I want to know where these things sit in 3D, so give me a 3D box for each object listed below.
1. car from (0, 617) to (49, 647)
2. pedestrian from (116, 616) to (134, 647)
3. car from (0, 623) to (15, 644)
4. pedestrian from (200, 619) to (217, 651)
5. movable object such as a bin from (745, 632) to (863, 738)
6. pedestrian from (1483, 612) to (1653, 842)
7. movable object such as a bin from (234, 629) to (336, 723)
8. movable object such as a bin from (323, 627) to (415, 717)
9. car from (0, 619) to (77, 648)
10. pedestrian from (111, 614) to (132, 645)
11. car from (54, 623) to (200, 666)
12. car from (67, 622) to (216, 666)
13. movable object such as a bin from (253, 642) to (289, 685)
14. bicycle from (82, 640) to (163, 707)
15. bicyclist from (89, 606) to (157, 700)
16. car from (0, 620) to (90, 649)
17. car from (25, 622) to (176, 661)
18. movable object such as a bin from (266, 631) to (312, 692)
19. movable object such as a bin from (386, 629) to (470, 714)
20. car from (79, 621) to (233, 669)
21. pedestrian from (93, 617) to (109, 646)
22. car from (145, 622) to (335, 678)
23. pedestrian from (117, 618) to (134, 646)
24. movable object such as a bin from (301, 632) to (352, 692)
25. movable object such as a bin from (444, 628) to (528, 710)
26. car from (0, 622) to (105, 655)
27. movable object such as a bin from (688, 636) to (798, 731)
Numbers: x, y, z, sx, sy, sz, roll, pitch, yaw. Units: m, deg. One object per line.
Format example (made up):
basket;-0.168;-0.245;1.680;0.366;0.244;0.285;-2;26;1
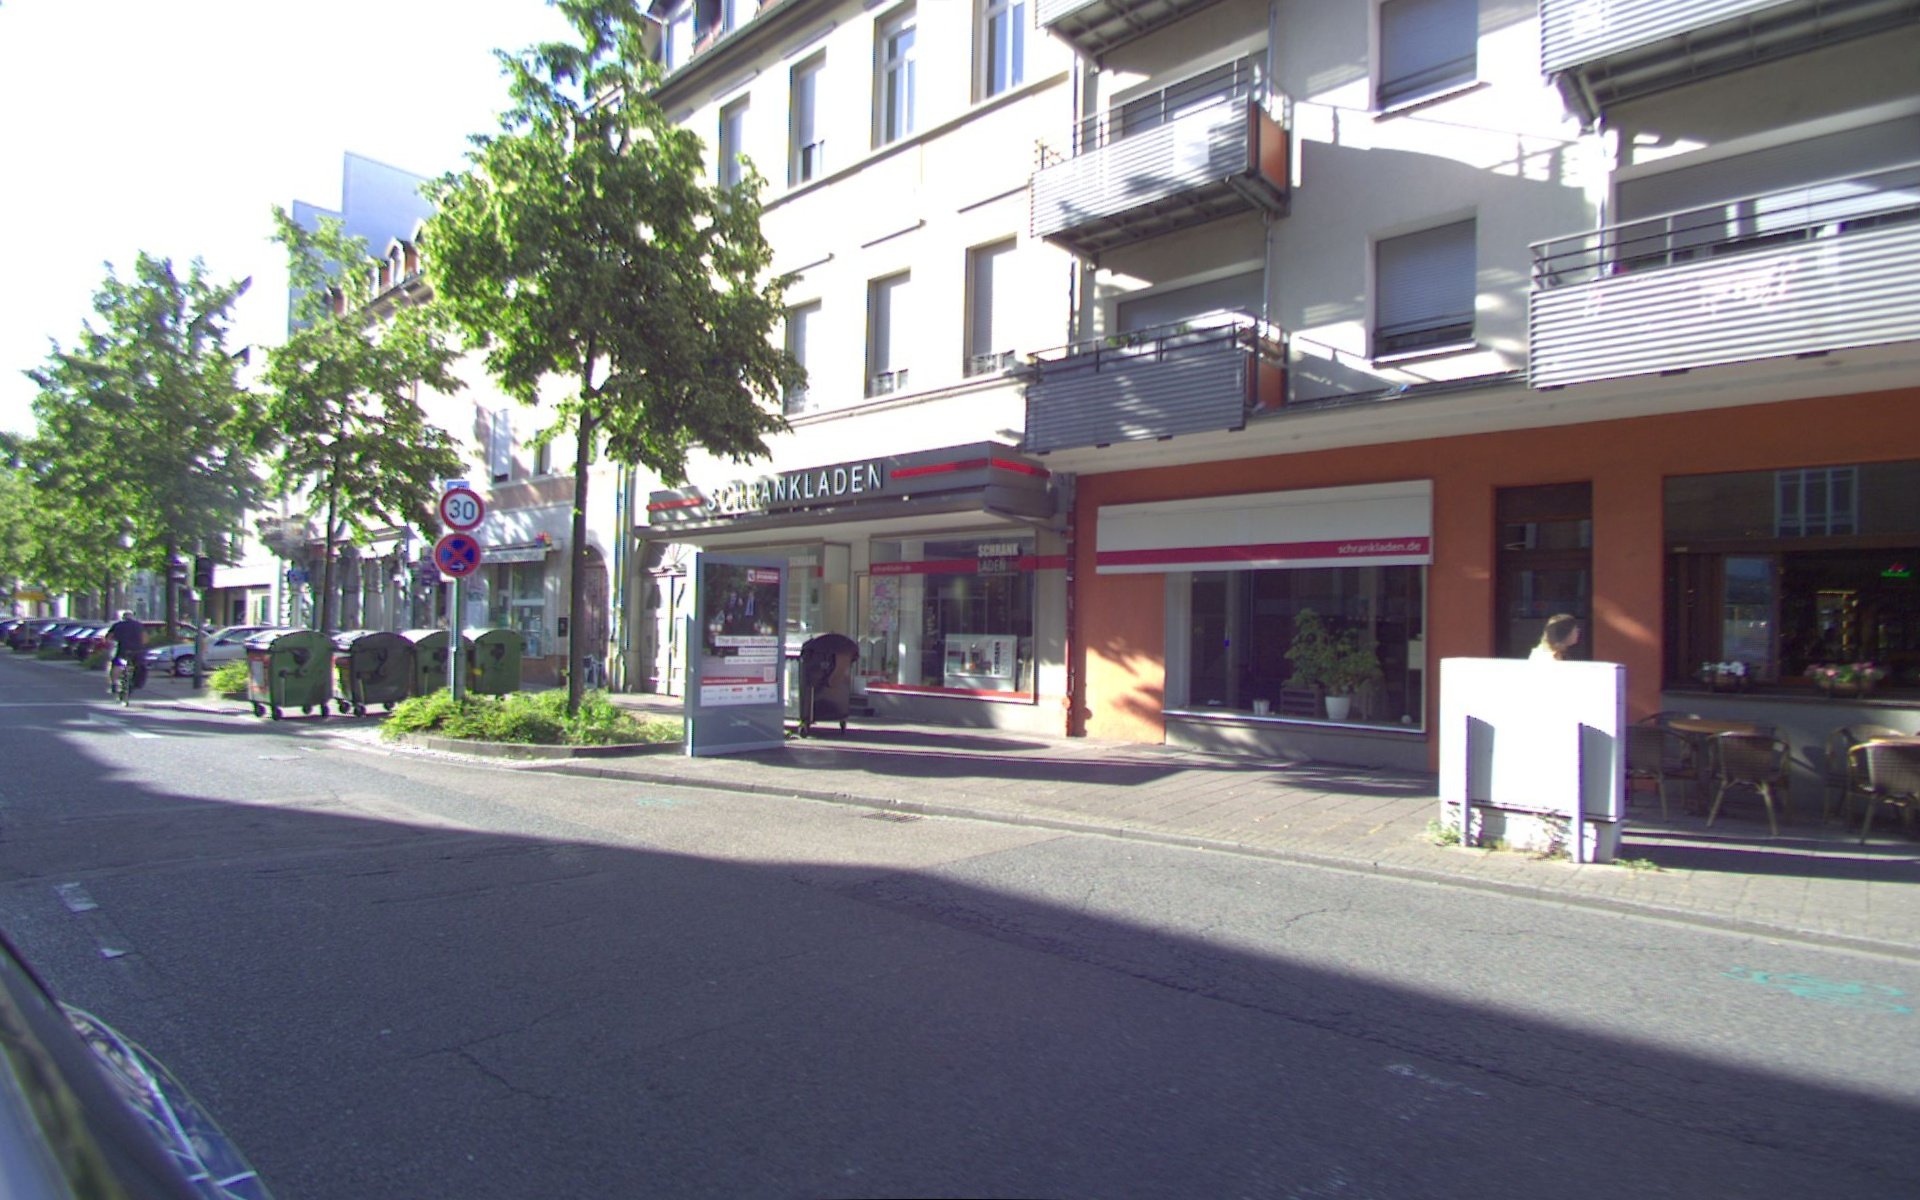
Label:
car;-60.155;1.989;63.639;2.038;1.850;4.061;-2;-2;42
pedestrian;-48.589;1.844;58.879;0.690;1.811;0.747;2;-3;-37
car;-69.899;2.392;71.972;1.708;1.475;3.741;-2;-2;39
pedestrian;-33.949;1.585;45.724;0.502;1.419;0.826;1;-3;-44
movable object such as a bin;-2.211;1.169;14.347;1.313;1.415;1.031;-1;-3;41
pedestrian;4.788;0.948;7.991;1.036;1.672;0.658;-2;-3;41
movable object such as a bin;-11.314;1.237;16.955;1.452;1.483;1.031;-1;-3;41
movable object such as a bin;-10.261;1.222;17.568;1.142;1.483;1.031;-1;-3;41
car;-53.352;1.920;57.713;1.946;1.582;4.319;-2;-3;42
pedestrian;-49.465;1.720;59.689;0.762;1.779;0.766;-1;1;40
car;-30.125;1.582;36.680;1.771;1.497;3.876;-2;-2;43
car;-28.372;1.487;35.152;1.790;1.440;3.799;-2;-2;43
movable object such as a bin;-17.480;1.600;25.675;0.805;1.077;0.525;-1;-3;41
bicycle;-15.385;1.321;18.585;1.965;1.155;0.699;-1;-3;38
bicyclist;-15.381;0.958;18.599;1.034;1.665;0.690;-1;-3;38
car;-51.325;1.918;56.189;1.980;1.582;4.319;-2;-3;42
car;-34.901;1.655;41.200;1.788;1.470;4.448;-1;-1;39
movable object such as a bin;-15.140;1.376;22.830;0.804;1.351;0.628;-1;-3;41
movable object such as a bin;-9.675;1.281;18.411;1.142;1.483;0.954;-1;-3;41
car;-26.405;1.458;33.308;1.739;1.479;3.708;-2;-2;41
pedestrian;-50.062;1.808;58.986;0.726;1.639;0.559;-1;1;40
car;-20.435;1.390;28.850;1.740;1.479;4.156;-2;-2;44
pedestrian;-45.575;1.742;55.263;0.842;1.505;0.586;-2;-1;43
movable object such as a bin;-14.649;1.421;23.390;0.804;1.351;0.747;-1;-3;41
movable object such as a bin;-9.010;1.291;19.232;1.142;1.483;1.031;-1;-3;41
car;-43.278;1.821;48.124;1.779;1.470;3.743;-1;-3;38
movable object such as a bin;-3.286;1.237;15.344;1.313;1.355;1.031;-1;-3;41
